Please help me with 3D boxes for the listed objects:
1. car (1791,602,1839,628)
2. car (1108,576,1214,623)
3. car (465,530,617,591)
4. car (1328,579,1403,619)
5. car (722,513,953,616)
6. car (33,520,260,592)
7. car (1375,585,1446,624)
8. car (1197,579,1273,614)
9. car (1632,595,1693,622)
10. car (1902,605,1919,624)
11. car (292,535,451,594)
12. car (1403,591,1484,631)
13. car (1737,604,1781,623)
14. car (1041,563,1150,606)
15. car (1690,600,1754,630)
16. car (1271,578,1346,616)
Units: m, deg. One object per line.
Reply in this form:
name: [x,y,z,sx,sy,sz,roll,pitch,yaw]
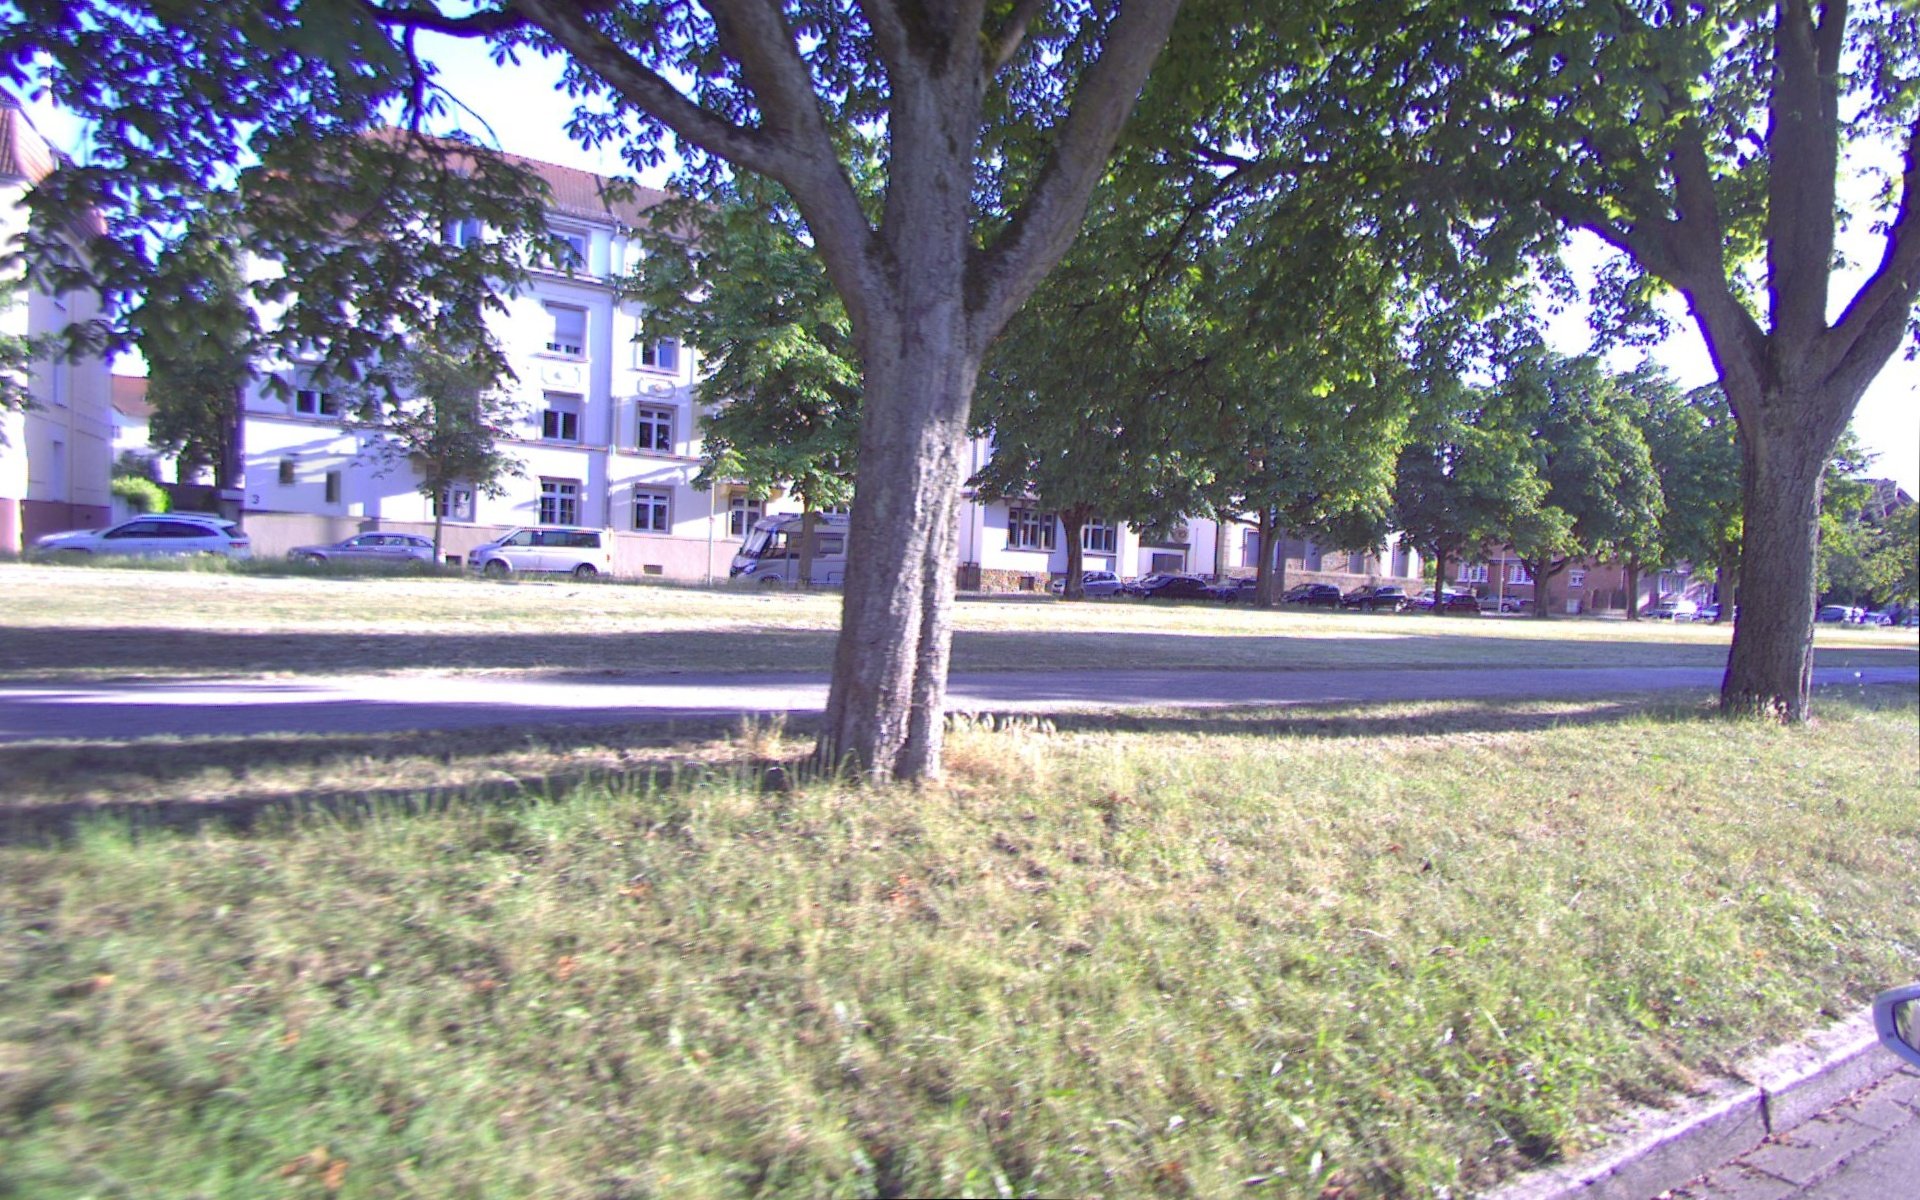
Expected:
car: [68.086,1.216,79.957,3.837,1.712,1.718,4,4,-32]
car: [8.797,-0.007,43.821,4.265,1.696,1.870,3,4,-30]
car: [-15.117,-1.409,36.341,4.823,1.976,1.983,1,2,-32]
car: [23.949,-0.044,59.297,3.956,2.040,1.982,3,4,-32]
car: [-4.300,-1.219,35.912,7.761,3.173,2.380,2,5,-30]
car: [-20.903,-1.125,26.083,4.370,1.575,1.785,1,5,-32]
car: [27.745,0.300,61.819,3.956,2.040,1.982,3,4,-32]
car: [14.721,-0.175,53.739,3.748,1.604,1.749,1,5,-31]
car: [53.729,0.638,76.846,4.302,1.681,1.984,3,4,-29]
car: [97.396,1.568,101.806,3.307,1.785,1.720,3,4,-31]
car: [-19.476,-1.171,33.432,4.423,1.663,1.833,2,5,-30]
car: [25.973,0.577,53.962,4.073,1.805,1.803,3,4,-30]
car: [68.066,1.172,85.581,3.431,1.360,1.674,3,4,-31]
car: [6.674,-0.749,49.247,5.103,1.712,1.982,3,4,-33]
car: [52.351,1.024,69.040,3.937,1.681,2.013,3,4,-30]
car: [19.700,-0.166,56.784,3.871,1.827,1.855,3,4,-31]
